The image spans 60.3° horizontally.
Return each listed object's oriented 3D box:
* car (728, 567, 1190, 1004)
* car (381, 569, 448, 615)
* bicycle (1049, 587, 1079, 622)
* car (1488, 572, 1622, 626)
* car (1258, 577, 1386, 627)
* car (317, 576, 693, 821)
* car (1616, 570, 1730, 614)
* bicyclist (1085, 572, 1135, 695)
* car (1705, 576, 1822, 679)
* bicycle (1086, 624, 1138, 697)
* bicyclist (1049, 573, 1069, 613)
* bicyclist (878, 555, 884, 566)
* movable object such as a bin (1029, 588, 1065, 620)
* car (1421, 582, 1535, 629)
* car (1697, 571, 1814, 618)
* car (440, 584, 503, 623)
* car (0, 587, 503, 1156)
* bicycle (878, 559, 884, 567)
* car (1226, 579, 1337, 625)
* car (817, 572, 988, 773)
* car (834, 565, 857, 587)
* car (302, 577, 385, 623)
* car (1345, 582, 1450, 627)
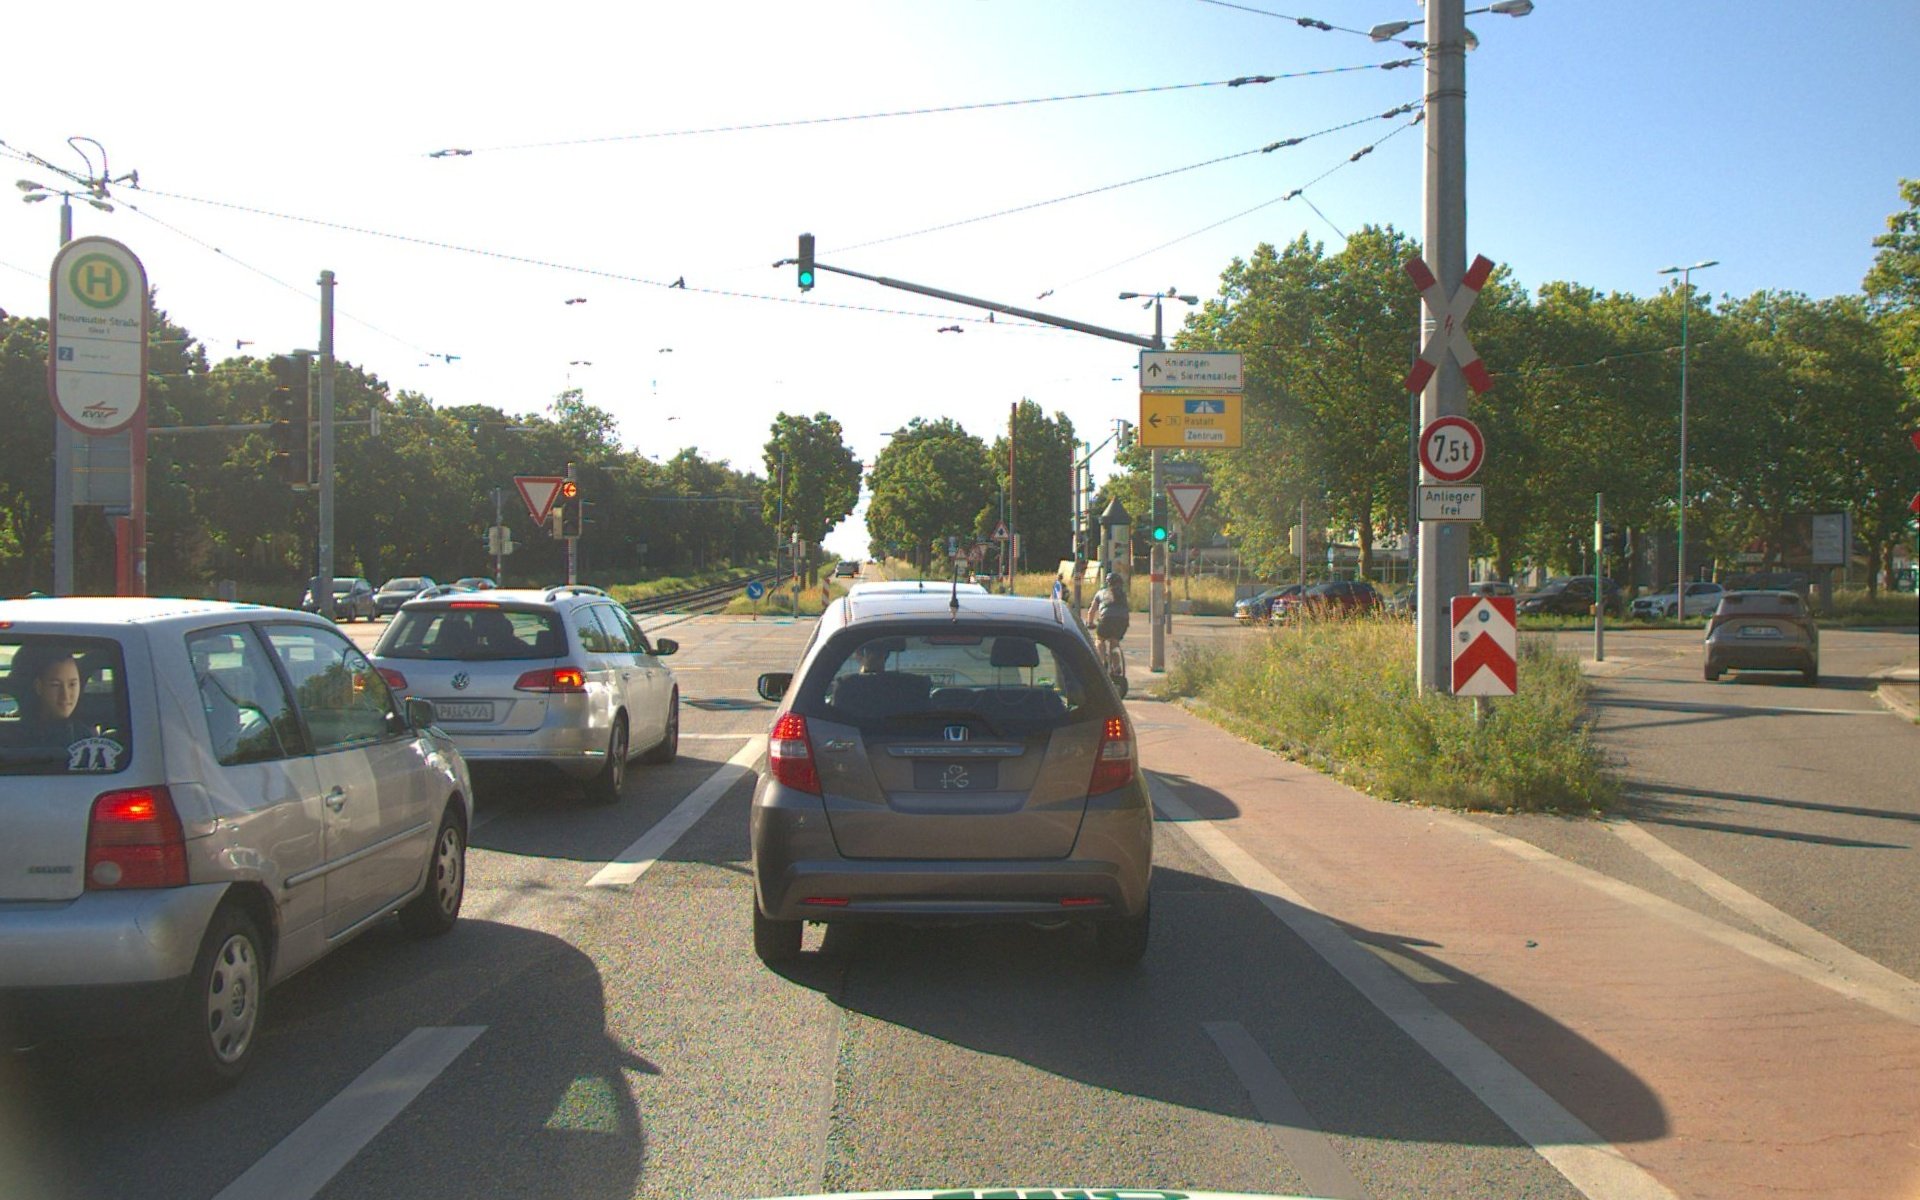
[{"bbox_3d":[-0.026,0.640,7.723,1.637,1.542,3.673,0,0,-1],"label":"car"},{"bbox_3d":[-21.178,-0.312,64.387,1.757,1.717,3.994,0,1,-8],"label":"car"},{"bbox_3d":[3.462,0.145,55.191,0.459,1.138,1.813,0,1,-15],"label":"bicycle"},{"bbox_3d":[20.270,-0.056,56.295,4.431,1.741,1.902,-1,0,-30],"label":"car"},{"bbox_3d":[12.296,0.039,56.167,4.026,1.628,1.801,-1,0,-26],"label":"car"},{"bbox_3d":[-3.268,0.606,12.805,1.839,1.554,4.419,0,0,-2],"label":"car"},{"bbox_3d":[29.789,-0.316,69.063,4.708,1.711,1.891,1,0,-29],"label":"car"},{"bbox_3d":[2.121,0.462,23.501,0.602,1.709,0.933,0,0,-1],"label":"bicyclist"},{"bbox_3d":[14.639,0.443,30.082,1.786,1.734,3.768,1,1,27],"label":"car"},{"bbox_3d":[2.143,0.841,23.517,0.513,0.939,2.089,0,0,-1],"label":"bicycle"},{"bbox_3d":[3.343,-0.242,55.799,0.501,1.364,0.562,0,0,-17],"label":"bicyclist"},{"bbox_3d":[-11.235,-5.573,235.669,0.801,1.551,0.965,1,0,-2],"label":"bicyclist"},{"bbox_3d":[3.003,0.142,57.398,0.893,1.087,1.311,0,0,-15],"label":"movable object such as a bin"},{"bbox_3d":[18.667,0.173,59.612,3.800,1.628,1.699,-1,0,-26],"label":"car"},{"bbox_3d":[36.857,-0.251,76.609,5.033,2.106,2.116,0,1,-23],"label":"car"},{"bbox_3d":[-21.373,0.123,72.455,1.778,1.624,4.687,0,1,-6],"label":"car"},{"bbox_3d":[-2.872,0.710,6.076,1.549,1.494,3.413,0,1,-2],"label":"car"},{"bbox_3d":[-11.249,-5.204,235.648,0.801,1.066,2.505,1,0,-2],"label":"bicycle"},{"bbox_3d":[11.744,0.063,60.382,3.806,1.628,1.696,-1,0,-30],"label":"car"},{"bbox_3d":[-0.507,0.548,14.440,1.324,1.554,3.122,0,0,-2],"label":"car"},{"bbox_3d":[-10.902,-2.277,157.745,1.953,2.049,3.998,1,0,-2],"label":"car"},{"bbox_3d":[-20.895,-0.023,56.181,1.650,1.484,3.700,0,1,-5],"label":"car"},{"bbox_3d":[16.666,0.158,62.918,3.806,1.628,1.696,-1,0,-30],"label":"car"}]
